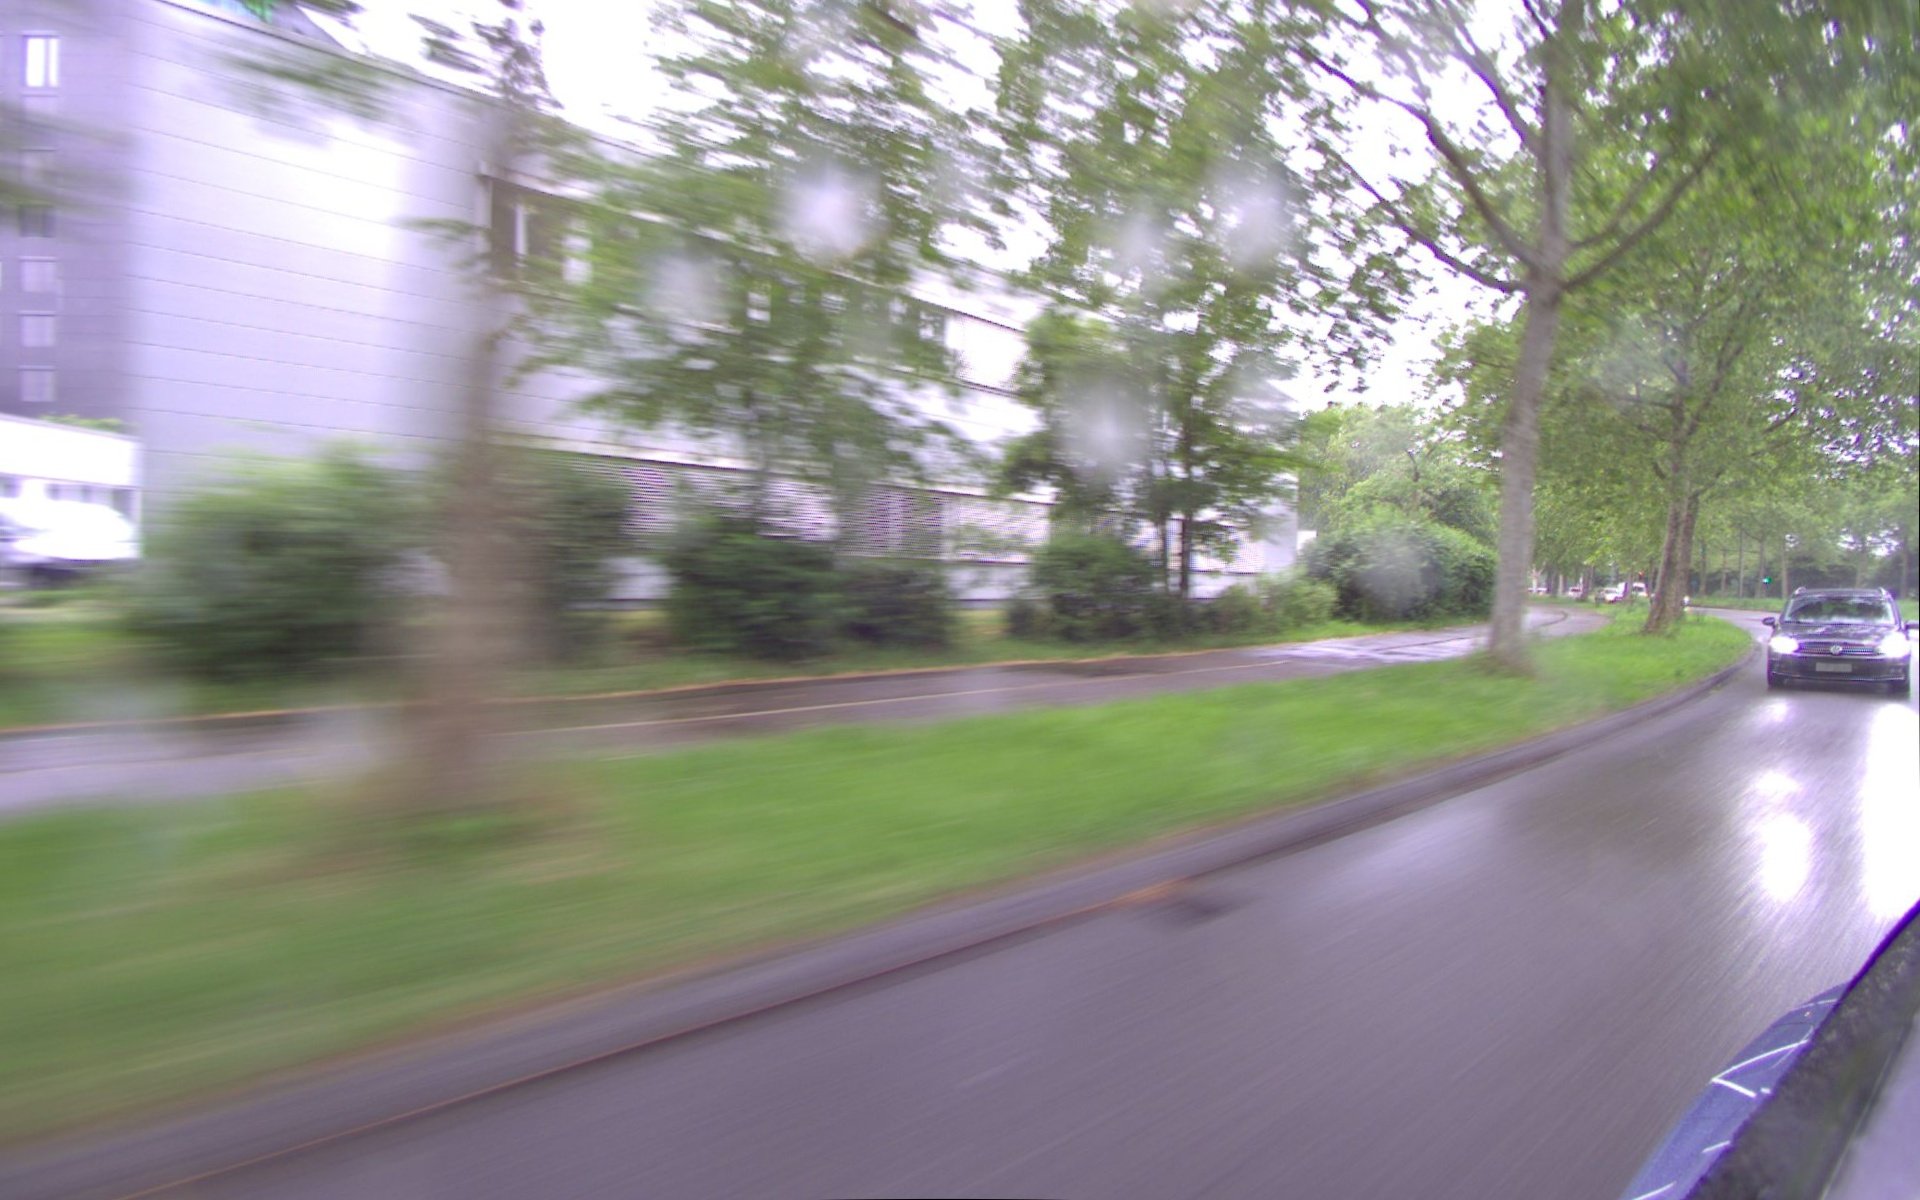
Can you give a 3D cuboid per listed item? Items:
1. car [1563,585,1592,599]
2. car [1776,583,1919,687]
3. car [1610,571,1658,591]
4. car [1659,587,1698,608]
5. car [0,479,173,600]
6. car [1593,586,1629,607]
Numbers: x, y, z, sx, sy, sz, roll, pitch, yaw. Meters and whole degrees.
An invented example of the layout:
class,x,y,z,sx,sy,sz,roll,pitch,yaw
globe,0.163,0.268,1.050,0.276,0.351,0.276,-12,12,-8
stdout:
class,x,y,z,sx,sy,sz,roll,pitch,yaw
car,93.714,-1.254,153.603,1.909,1.964,5.182,1,1,11
car,15.254,0.519,17.337,1.778,1.575,3.939,-1,0,42
car,86.268,-2.397,129.598,2.245,2.457,6.353,1,1,4
car,56.121,-0.215,79.159,1.767,1.575,3.965,1,1,25
car,-15.683,-0.953,17.307,4.554,1.854,1.752,1,0,27
car,53.239,-0.289,82.789,1.765,1.575,3.969,1,1,23
